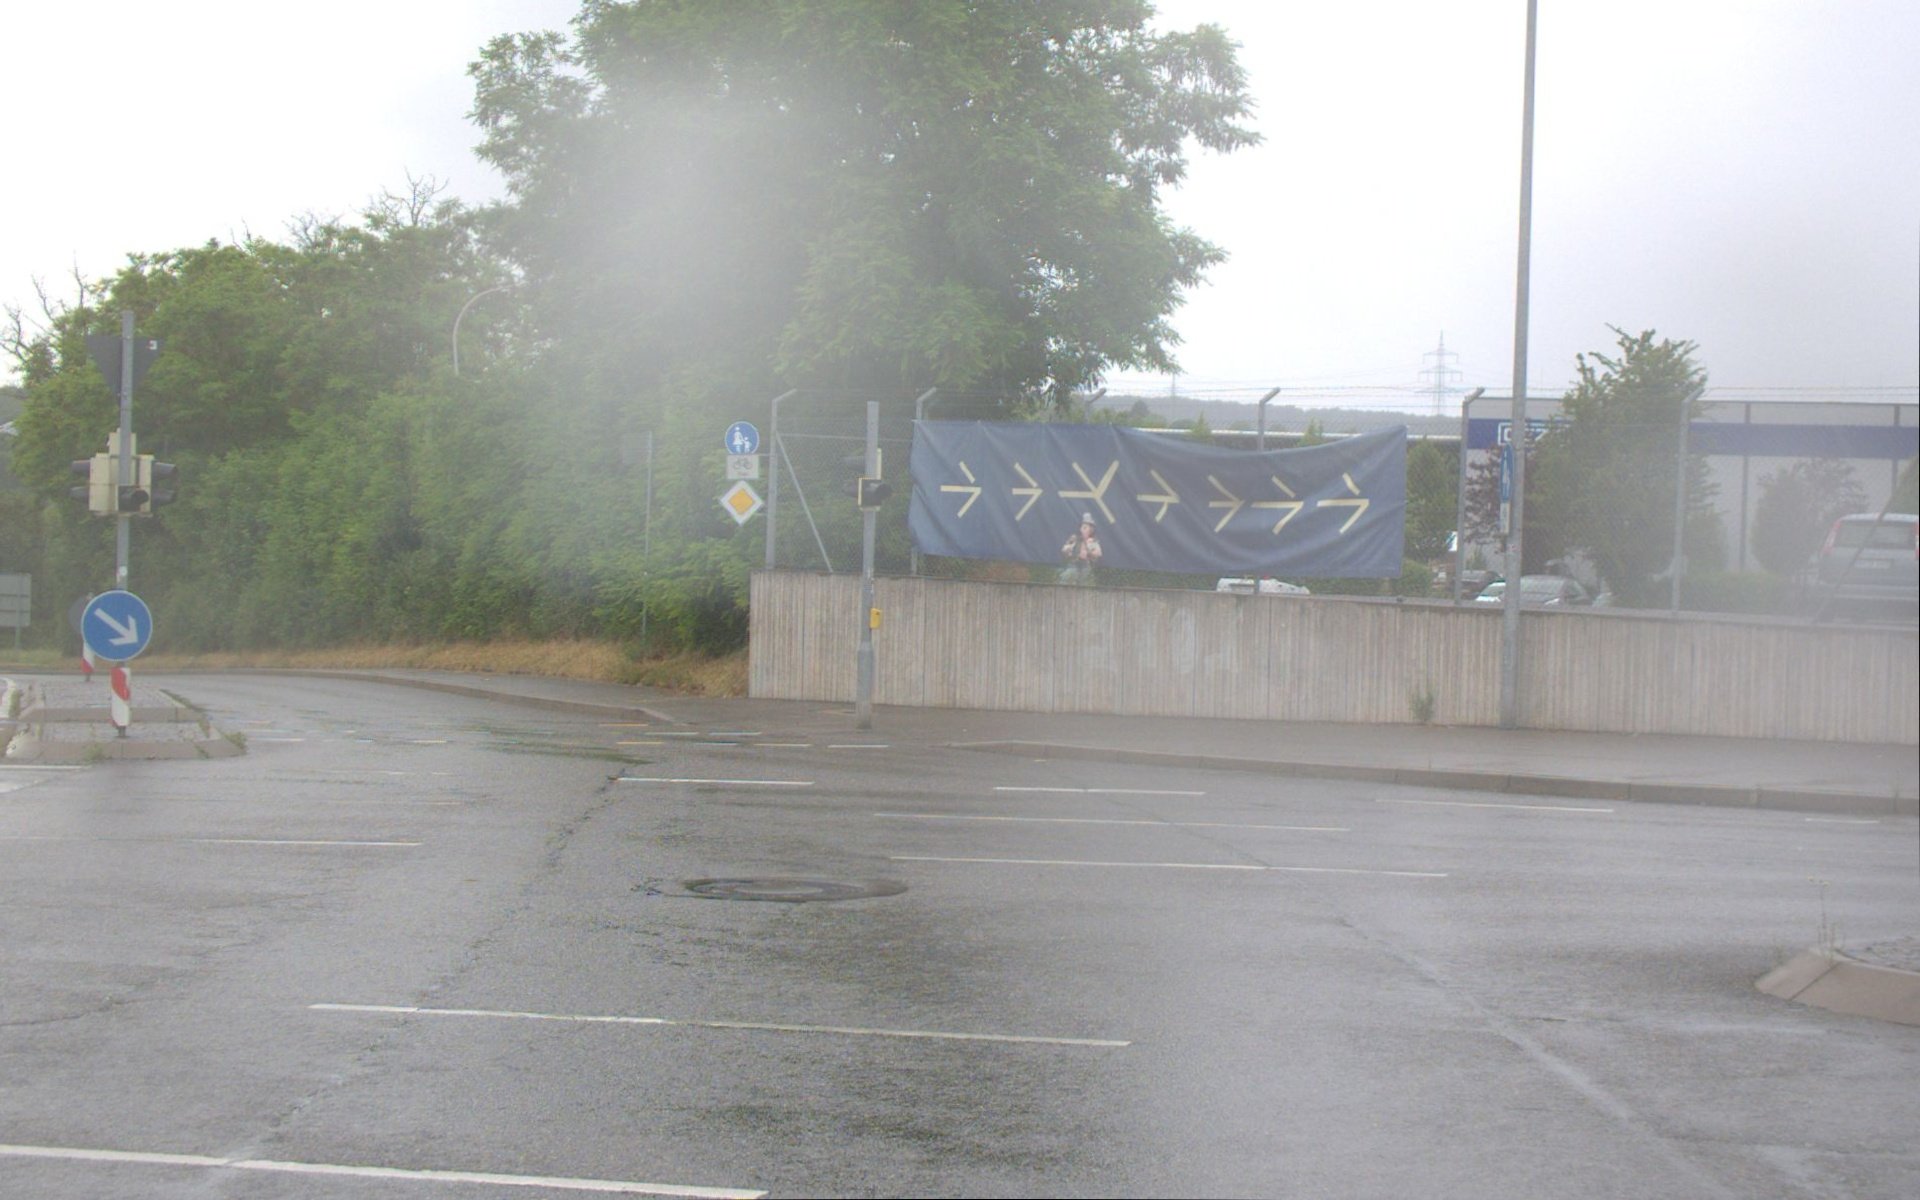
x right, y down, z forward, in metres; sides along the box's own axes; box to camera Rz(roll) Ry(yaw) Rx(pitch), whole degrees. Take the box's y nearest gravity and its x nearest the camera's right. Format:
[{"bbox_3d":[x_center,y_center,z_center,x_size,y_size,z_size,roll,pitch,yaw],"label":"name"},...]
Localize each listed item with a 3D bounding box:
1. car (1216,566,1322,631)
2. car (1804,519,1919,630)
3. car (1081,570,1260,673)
[{"bbox_3d":[7.987,-0.033,88.666,1.668,1.601,3.526,1,0,24],"label":"car"},{"bbox_3d":[13.454,-0.351,49.897,1.745,1.548,3.526,1,0,24],"label":"car"},{"bbox_3d":[3.407,0.336,55.089,1.745,1.564,3.526,1,0,24],"label":"car"}]
